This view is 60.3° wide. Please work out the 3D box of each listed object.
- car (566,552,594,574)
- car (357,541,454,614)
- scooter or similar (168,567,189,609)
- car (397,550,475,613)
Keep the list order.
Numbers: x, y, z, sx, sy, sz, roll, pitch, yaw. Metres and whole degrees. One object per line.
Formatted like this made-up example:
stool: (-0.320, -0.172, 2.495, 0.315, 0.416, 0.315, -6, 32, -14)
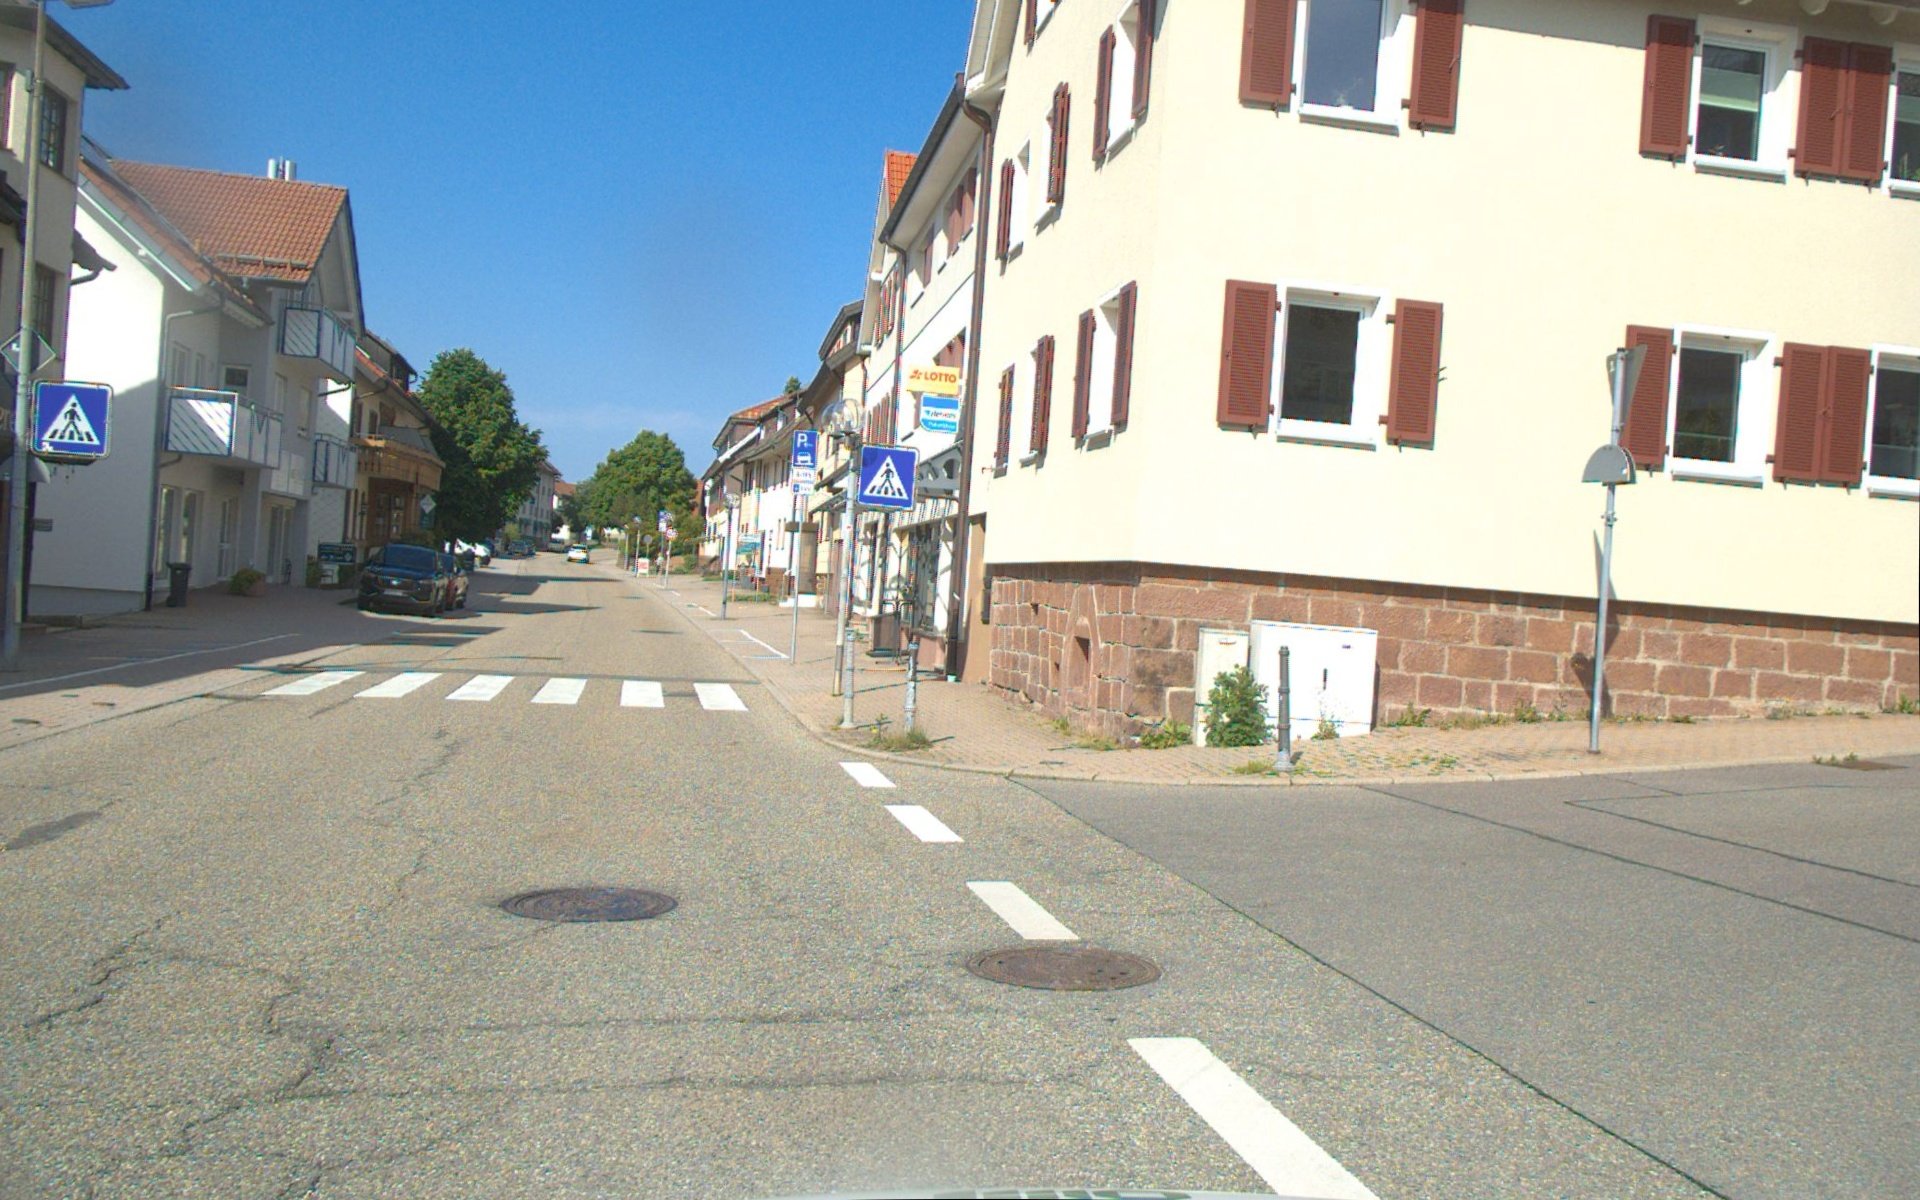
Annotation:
car: (-37.145, -3.567, 161.739, 2.451, 2.049, 4.292, 1, 1, -12)
car: (-13.997, -0.579, 41.943, 1.643, 1.559, 3.527, 7, 0, -10)
scooter or similar: (-16.813, -0.259, 35.582, 0.346, 0.905, 0.393, 1, 1, -16)
car: (-14.921, -0.528, 47.239, 1.640, 1.703, 3.303, 1, 0, -10)
